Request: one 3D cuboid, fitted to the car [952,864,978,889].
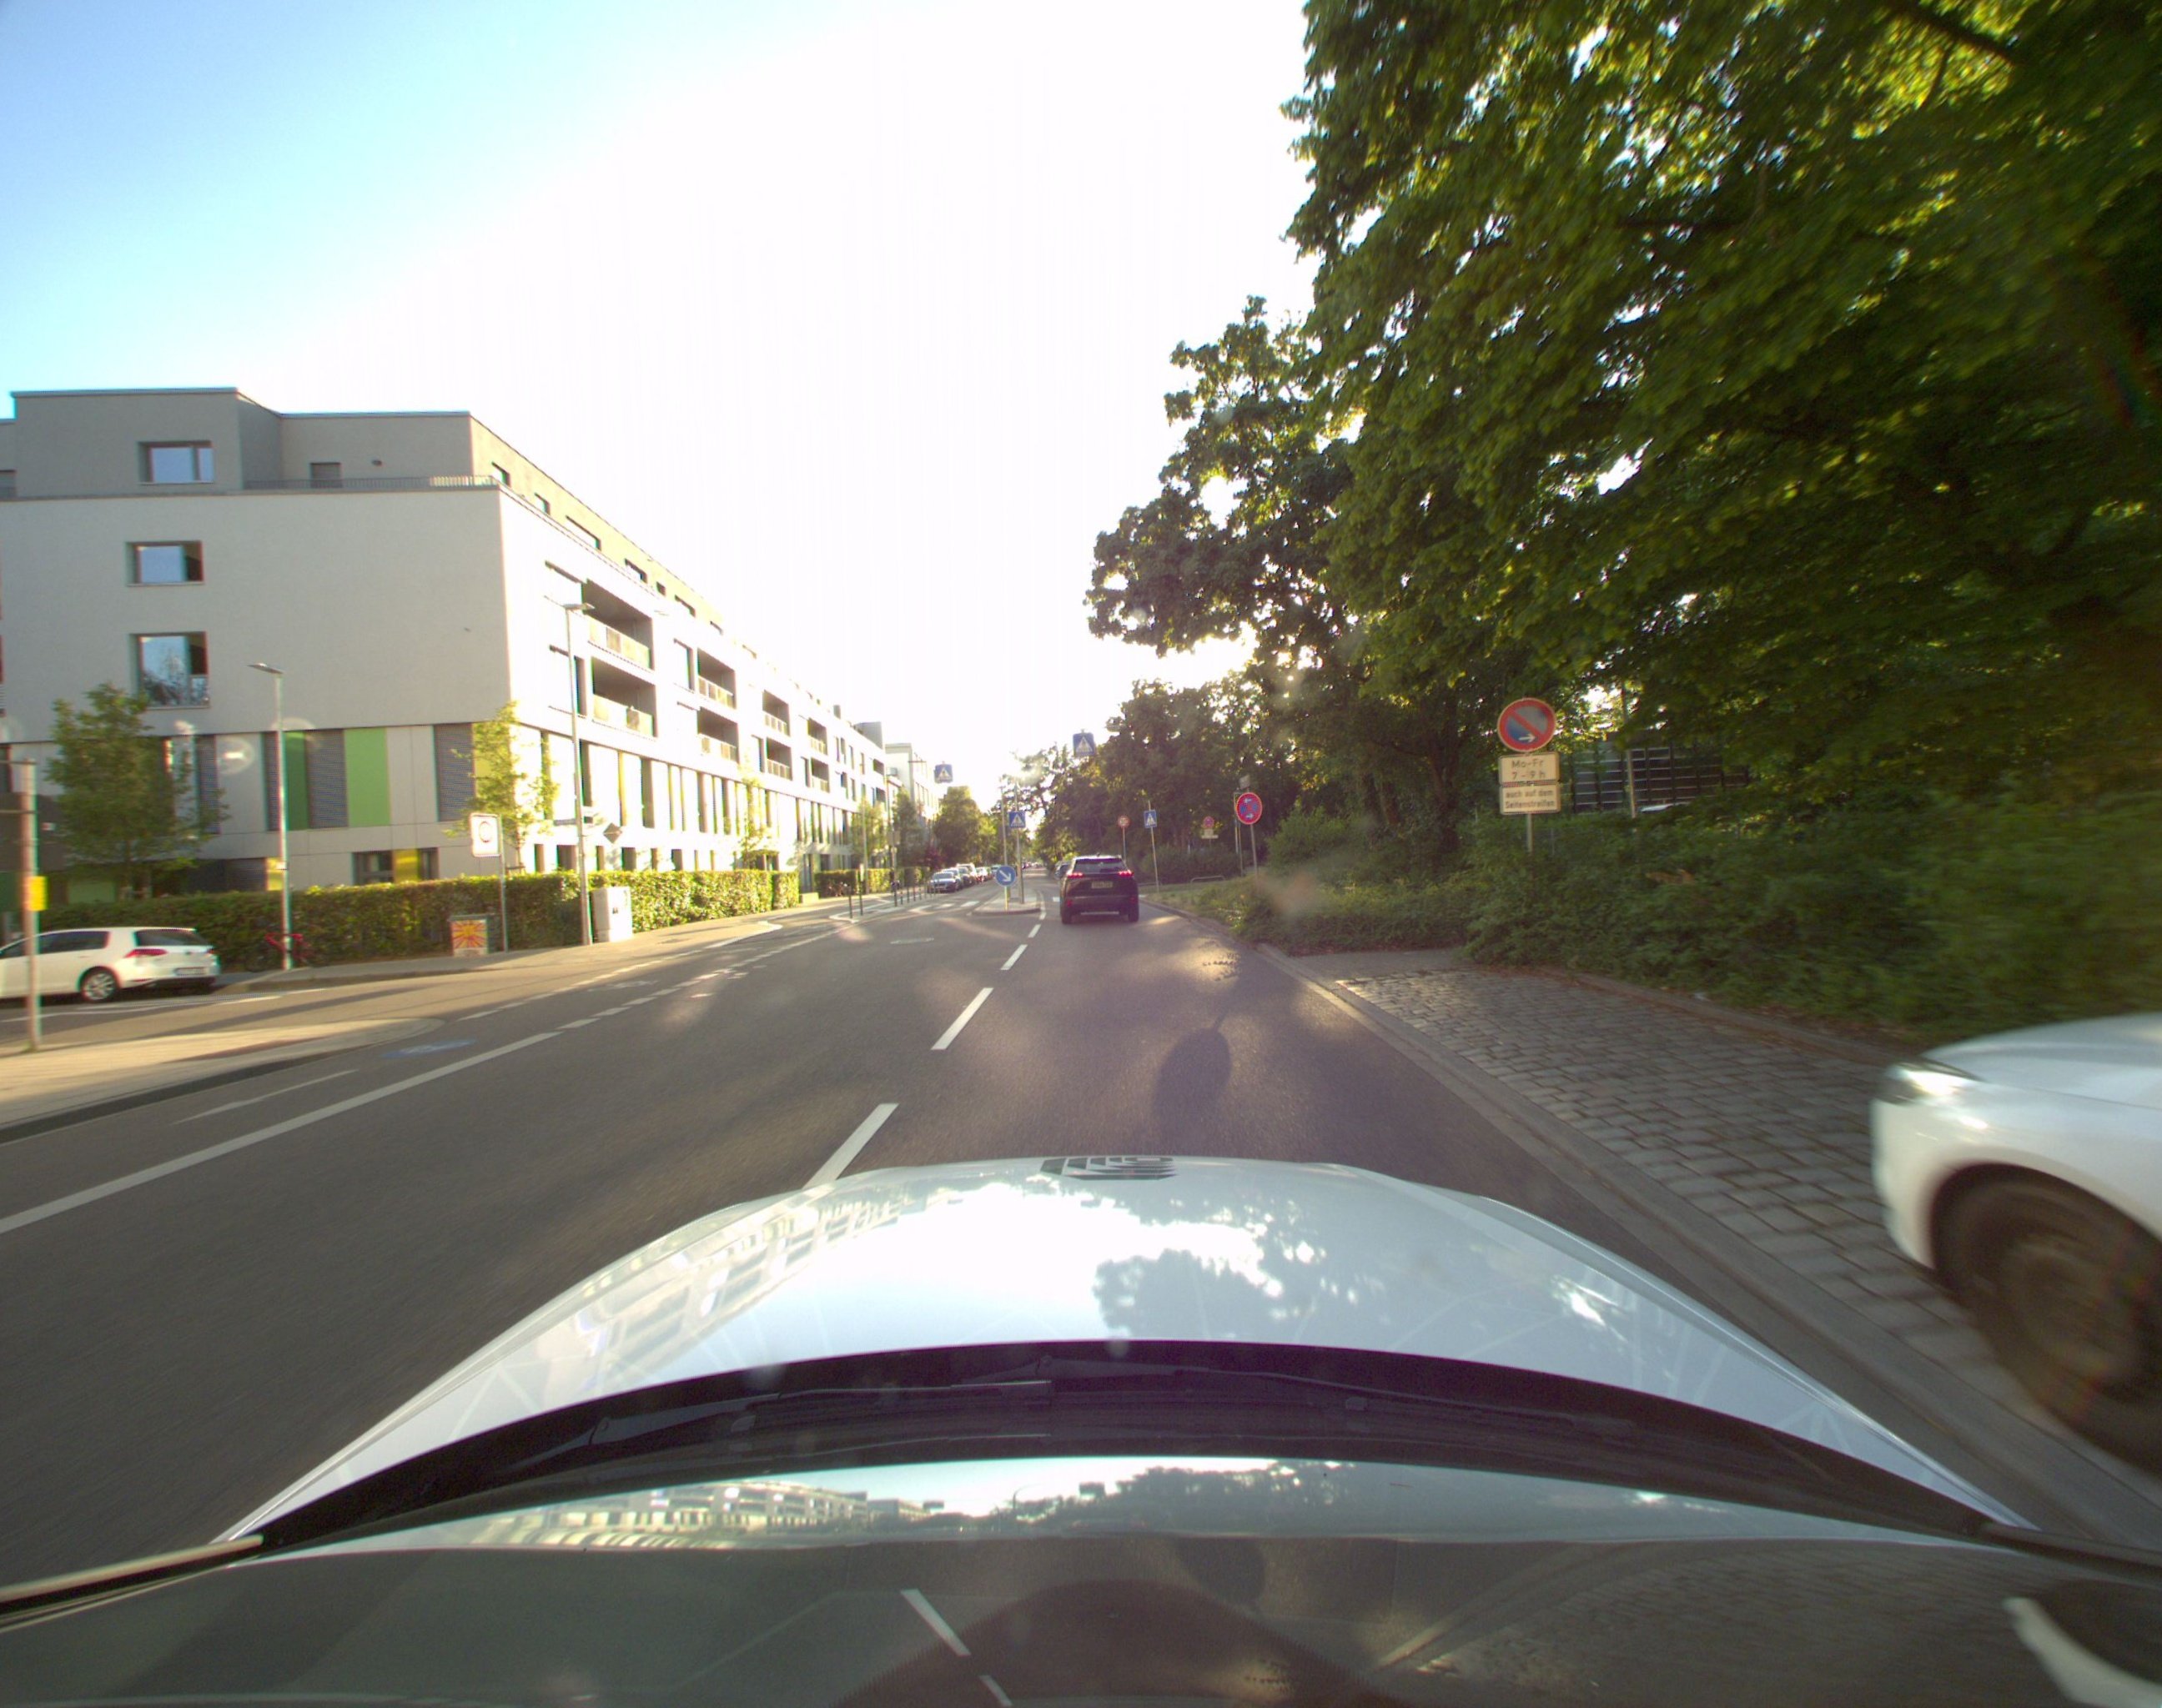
[{"bbox_3d":[-9.998,1.919,70.642,1.804,1.889,4.232,-5,0,-4],"label":"car"}]

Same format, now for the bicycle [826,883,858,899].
[{"bbox_3d":[-14.811,2.283,50.534,1.748,0.918,0.616,-2,-1,-5],"label":"bicycle"}]

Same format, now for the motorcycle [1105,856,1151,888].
[{"bbox_3d":[2.544,0.980,43.560,2.279,1.545,1.042,-4,-1,7],"label":"motorcycle"}]

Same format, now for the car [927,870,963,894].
[{"bbox_3d":[-9.046,1.856,54.487,1.738,1.356,4.391,-4,-1,-3],"label":"car"}]

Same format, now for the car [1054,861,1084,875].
[{"bbox_3d":[-1.698,1.892,113.191,4.113,1.667,1.721,-4,-1,-3],"label":"car"}]

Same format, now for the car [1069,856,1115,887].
[{"bbox_3d":[0.650,1.125,52.401,1.923,1.748,4.646,-4,-1,-12],"label":"car"}]

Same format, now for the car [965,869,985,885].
[{"bbox_3d":[-10.439,2.269,80.334,1.595,1.455,3.855,-4,-1,-4],"label":"car"}]

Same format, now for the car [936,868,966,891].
[{"bbox_3d":[-9.484,1.851,59.675,1.739,1.534,4.108,-4,-1,-5],"label":"car"}]

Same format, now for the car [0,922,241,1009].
[{"bbox_3d":[-19.575,2.210,16.100,3.896,1.439,1.817,-4,-5,-2],"label":"car"}]

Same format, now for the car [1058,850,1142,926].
[{"bbox_3d":[0.370,0.749,19.509,1.764,1.568,3.377,-3,0,-2],"label":"car"}]

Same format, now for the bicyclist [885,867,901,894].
[{"bbox_3d":[-11.699,1.659,50.696,0.624,1.644,0.758,-4,-1,4],"label":"bicyclist"}]

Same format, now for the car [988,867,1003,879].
[{"bbox_3d":[-11.921,2.587,113.489,1.667,1.493,4.057,-5,0,-2],"label":"car"}]

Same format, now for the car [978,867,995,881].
[{"bbox_3d":[-11.059,2.325,95.529,1.597,1.493,3.768,-5,0,-2],"label":"car"}]

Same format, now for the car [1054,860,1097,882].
[{"bbox_3d":[-0.510,1.518,74.028,3.605,1.525,1.668,-7,0,-5],"label":"car"}]

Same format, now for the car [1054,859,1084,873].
[{"bbox_3d":[-1.762,1.728,117.932,4.156,1.710,1.867,-3,-1,1],"label":"car"}]

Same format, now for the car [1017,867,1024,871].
[{"bbox_3d":[-18.678,4.648,252.164,1.808,1.354,3.990,-4,0,-7],"label":"car"}]

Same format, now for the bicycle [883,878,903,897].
[{"bbox_3d":[-11.673,2.058,50.656,0.630,1.078,1.886,-4,-1,5],"label":"bicycle"}]

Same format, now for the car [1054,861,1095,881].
[{"bbox_3d":[-0.638,1.569,76.401,3.661,1.444,1.732,-7,0,-5],"label":"car"}]

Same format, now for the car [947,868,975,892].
[{"bbox_3d":[-9.575,2.059,65.281,1.739,1.676,4.410,-5,0,-4],"label":"car"}]

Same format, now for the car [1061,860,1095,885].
[{"bbox_3d":[-0.233,1.286,57.601,1.650,1.567,4.287,-4,-1,-9],"label":"car"}]

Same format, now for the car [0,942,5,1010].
[{"bbox_3d":[-23.871,2.513,15.618,3.896,1.377,1.752,-4,-5,-2],"label":"car"}]

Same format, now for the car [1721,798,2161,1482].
[{"bbox_3d":[3.178,0.571,0.816,1.742,1.486,4.176,-3,0,0],"label":"car"}]

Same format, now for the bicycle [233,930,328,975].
[{"bbox_3d":[-18.737,2.300,19.079,1.595,0.892,0.511,-4,-1,-5],"label":"bicycle"}]
